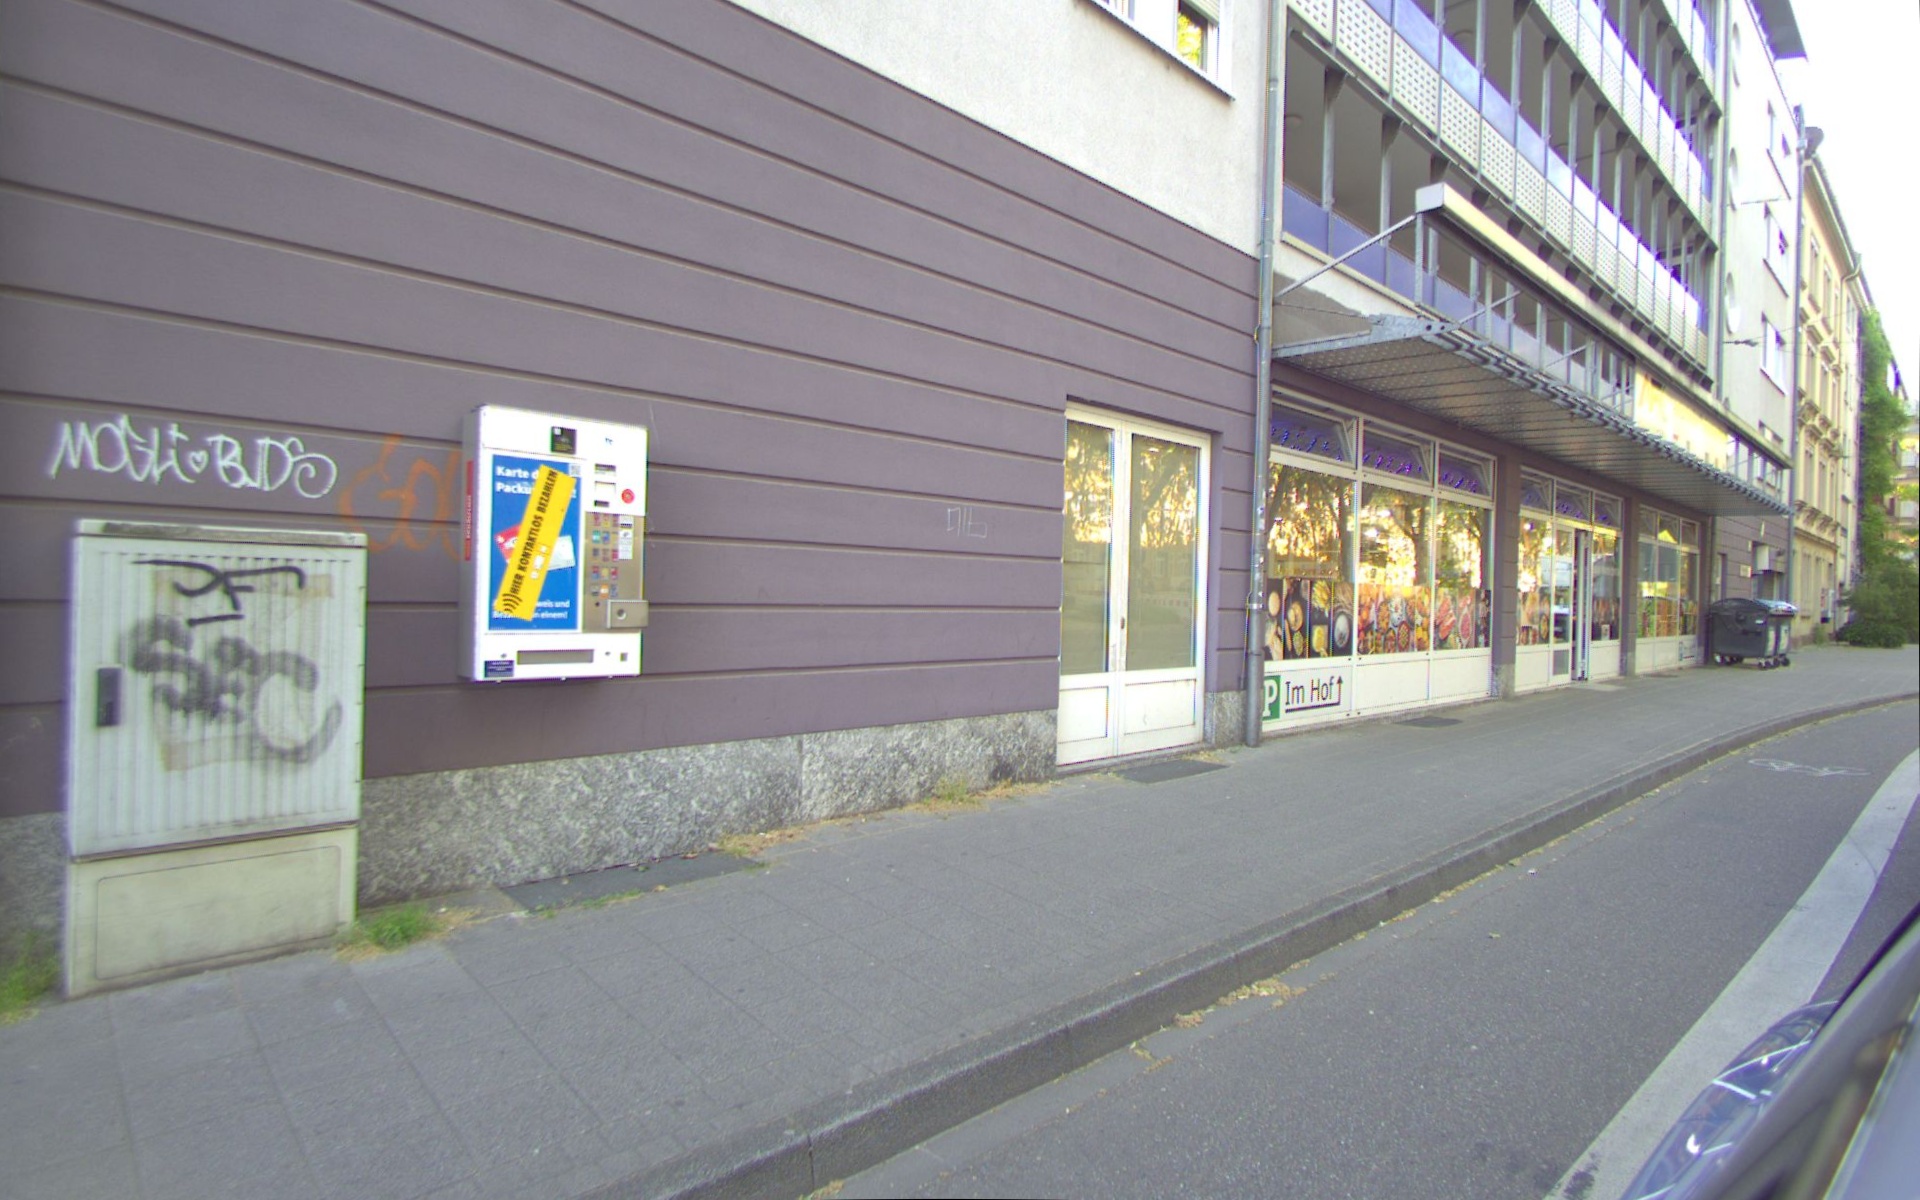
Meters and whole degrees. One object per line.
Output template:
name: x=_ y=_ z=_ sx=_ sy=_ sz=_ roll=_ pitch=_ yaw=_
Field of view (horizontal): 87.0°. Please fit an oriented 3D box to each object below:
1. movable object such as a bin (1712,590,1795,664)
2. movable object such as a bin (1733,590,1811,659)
movable object such as a bin: x=16.295 y=0.540 z=20.786 sx=0.923 sy=1.444 sz=1.158 roll=1 pitch=1 yaw=-40
movable object such as a bin: x=17.768 y=0.517 z=22.146 sx=0.923 sy=1.444 sz=1.158 roll=1 pitch=1 yaw=-40
